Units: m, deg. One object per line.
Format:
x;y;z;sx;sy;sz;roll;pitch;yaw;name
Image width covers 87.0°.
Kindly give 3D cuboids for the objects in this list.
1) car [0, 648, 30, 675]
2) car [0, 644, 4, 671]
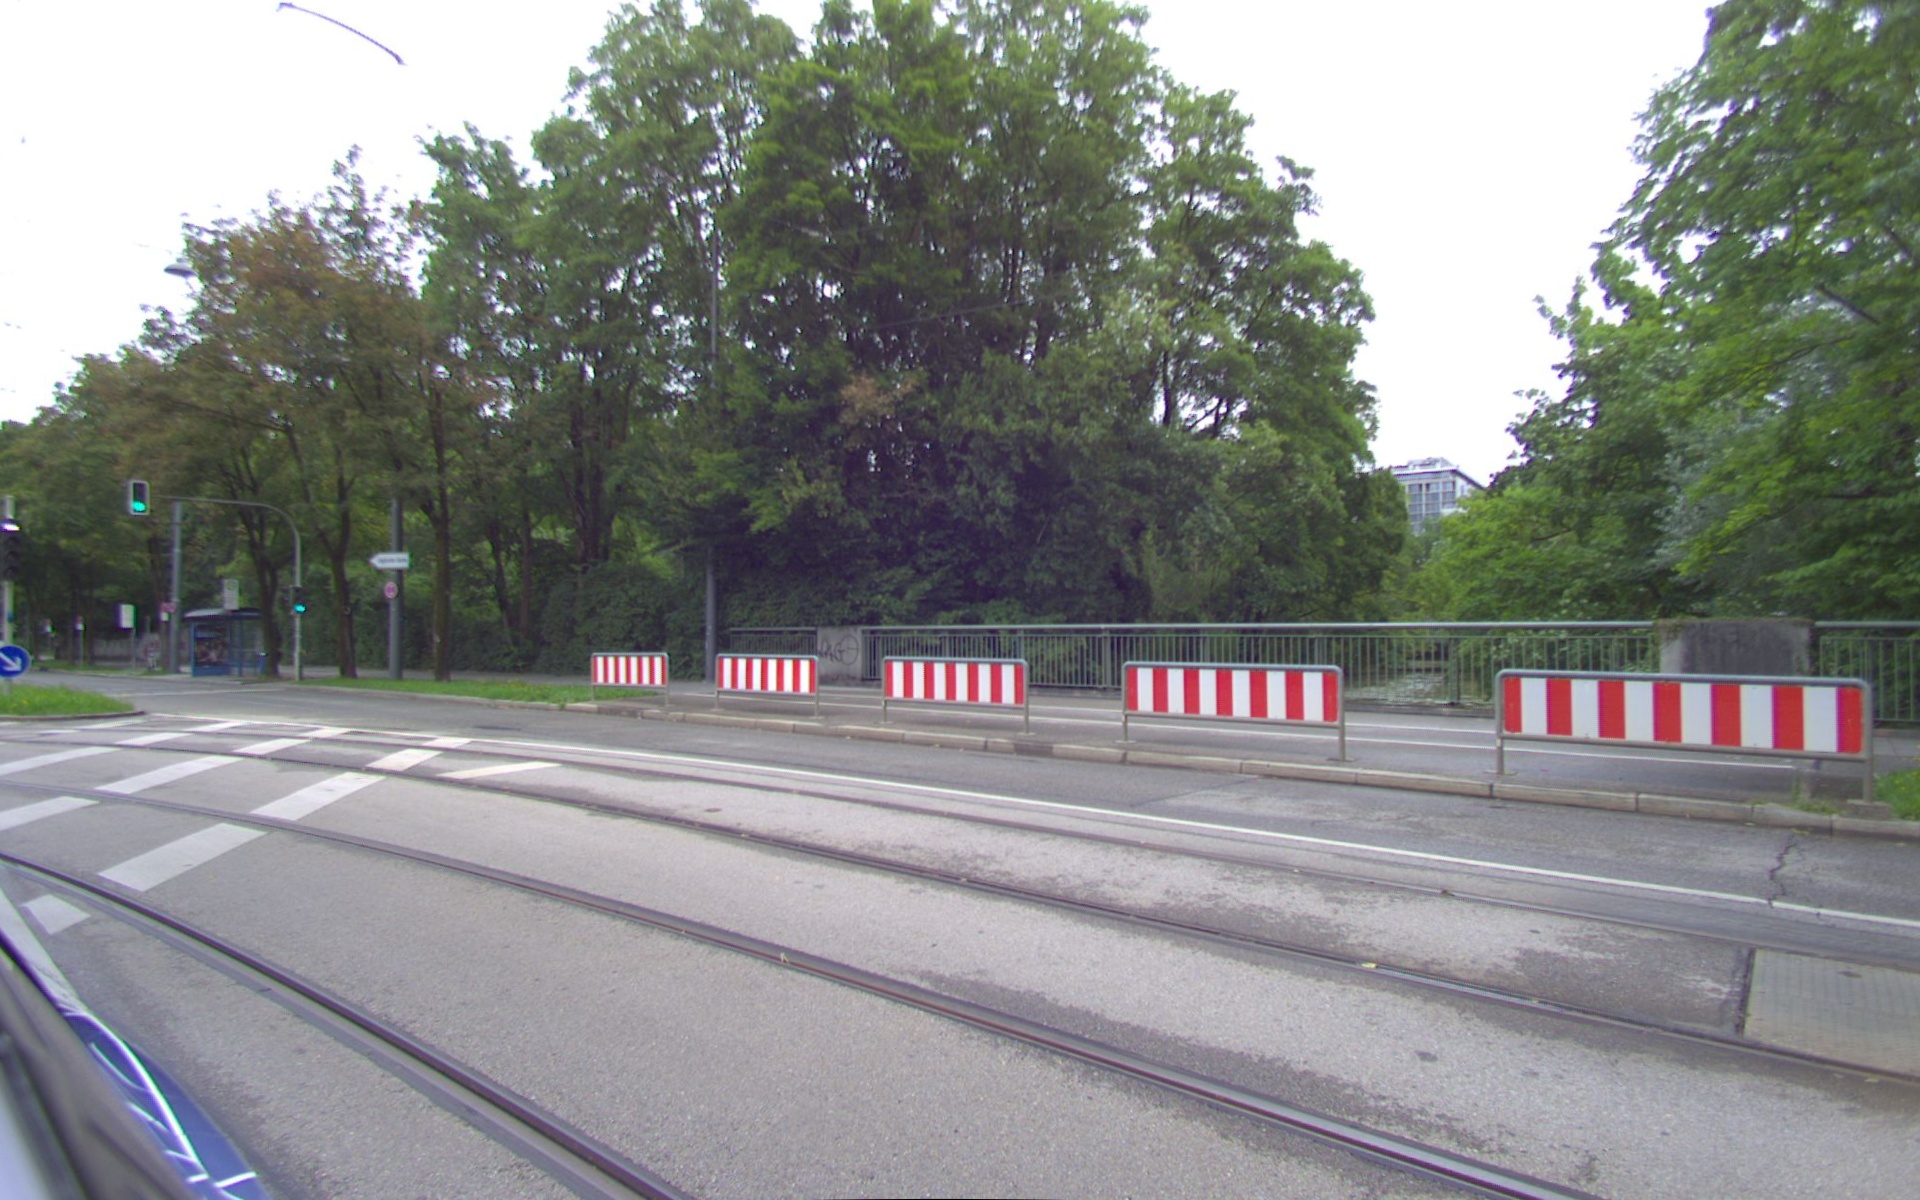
-60.277;3.847;63.808;3.996;1.552;1.865;-1;0;39;car
-64.727;3.850;66.838;3.996;1.739;1.864;-1;0;40;car
